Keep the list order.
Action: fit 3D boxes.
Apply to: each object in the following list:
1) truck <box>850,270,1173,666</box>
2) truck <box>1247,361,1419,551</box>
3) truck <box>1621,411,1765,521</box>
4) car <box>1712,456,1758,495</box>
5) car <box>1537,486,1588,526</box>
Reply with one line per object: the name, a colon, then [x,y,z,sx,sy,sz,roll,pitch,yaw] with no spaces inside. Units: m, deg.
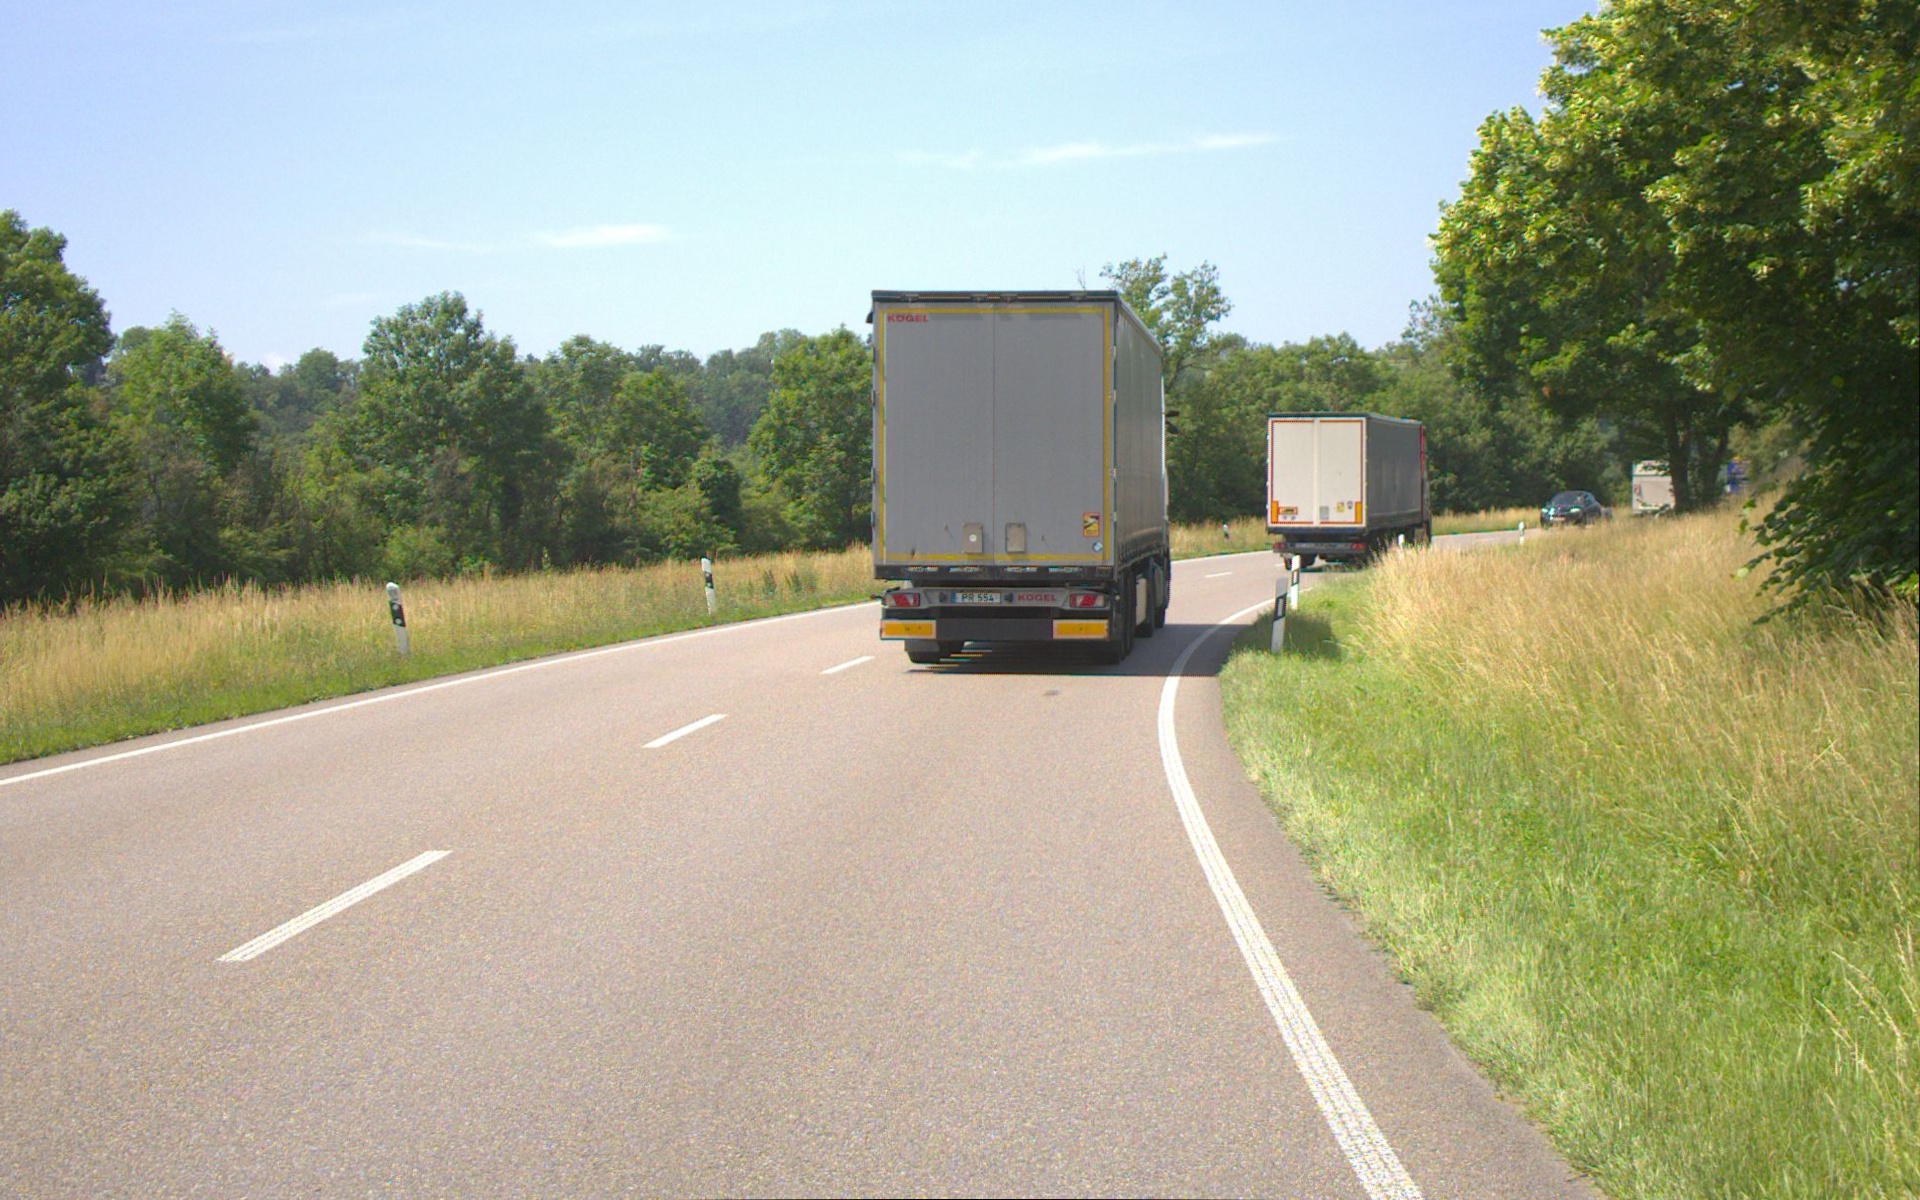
truck: [0.994,-1.508,43.009,2.802,4.054,15.323,0,1,6]
truck: [10.407,-3.776,94.214,3.106,4.689,16.581,-1,1,12]
truck: [33.309,-5.950,155.553,3.109,4.689,16.569,0,1,24]
car: [37.715,-6.048,167.293,1.532,1.791,3.819,0,1,23]
car: [26.658,-4.147,151.955,1.531,1.711,3.820,-1,1,20]
